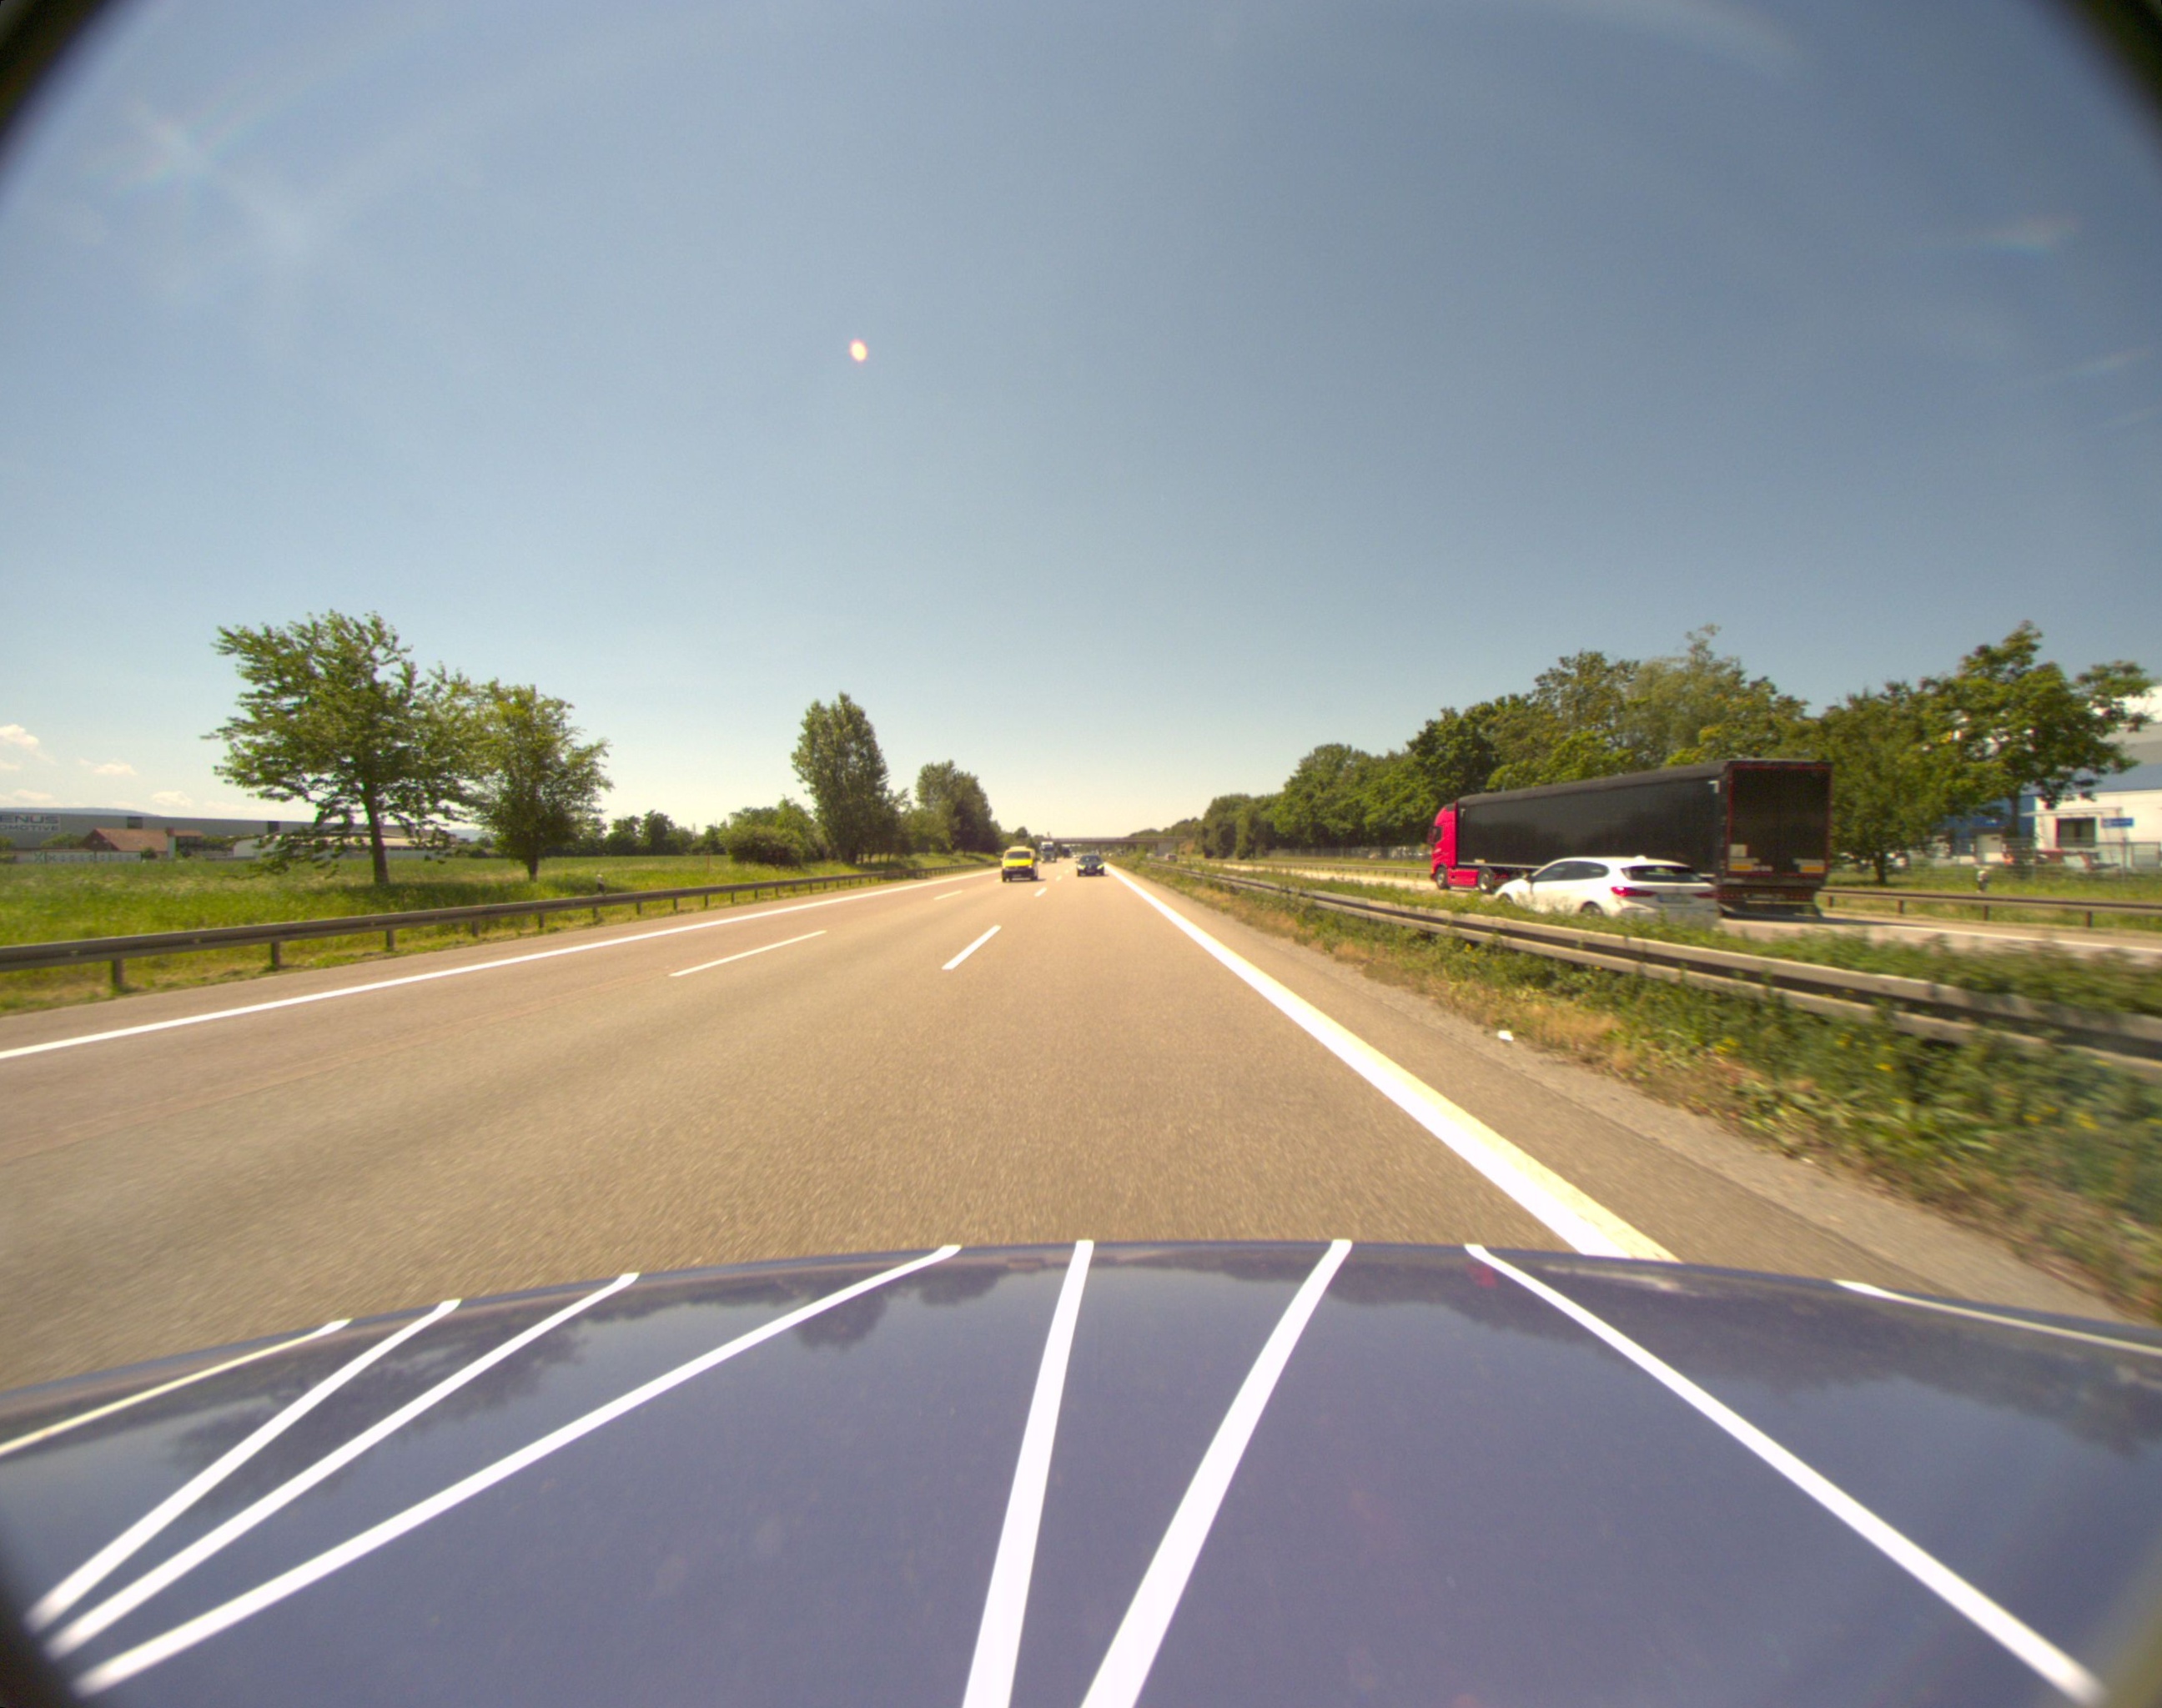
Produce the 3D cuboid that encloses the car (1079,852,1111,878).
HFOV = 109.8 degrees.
[{"bbox_3d":[0.836,0.673,48.607,1.894,1.541,4.038,1,0,-1],"label":"car"}]

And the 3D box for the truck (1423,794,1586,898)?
[{"bbox_3d":[17.640,-0.309,32.272,3.448,3.908,6.220,1,1,1],"label":"truck"}]

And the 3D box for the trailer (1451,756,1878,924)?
[{"bbox_3d":[17.546,-0.382,25.458,3.456,3.988,14.203,1,0,1],"label":"trailer"}]

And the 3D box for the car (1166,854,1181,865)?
[{"bbox_3d":[14.612,0.898,120.609,1.850,1.672,4.814,1,0,1],"label":"car"}]

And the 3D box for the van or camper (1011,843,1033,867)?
[{"bbox_3d":[-7.083,0.104,92.430,2.119,2.687,6.366,-2,0,0],"label":"van or camper"}]

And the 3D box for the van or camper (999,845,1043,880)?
[{"bbox_3d":[-3.595,0.489,46.626,2.063,1.992,5.884,-1,0,1],"label":"van or camper"}]

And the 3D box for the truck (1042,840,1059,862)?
[{"bbox_3d":[-5.936,-0.655,150.343,2.806,4.022,13.352,-3,0,0],"label":"truck"}]

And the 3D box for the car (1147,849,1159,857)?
[{"bbox_3d":[15.619,-0.218,164.786,1.999,1.630,4.858,3,0,0],"label":"car"}]

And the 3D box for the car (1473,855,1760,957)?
[{"bbox_3d":[9.567,0.812,14.229,1.925,1.520,4.867,1,0,0],"label":"car"}]
